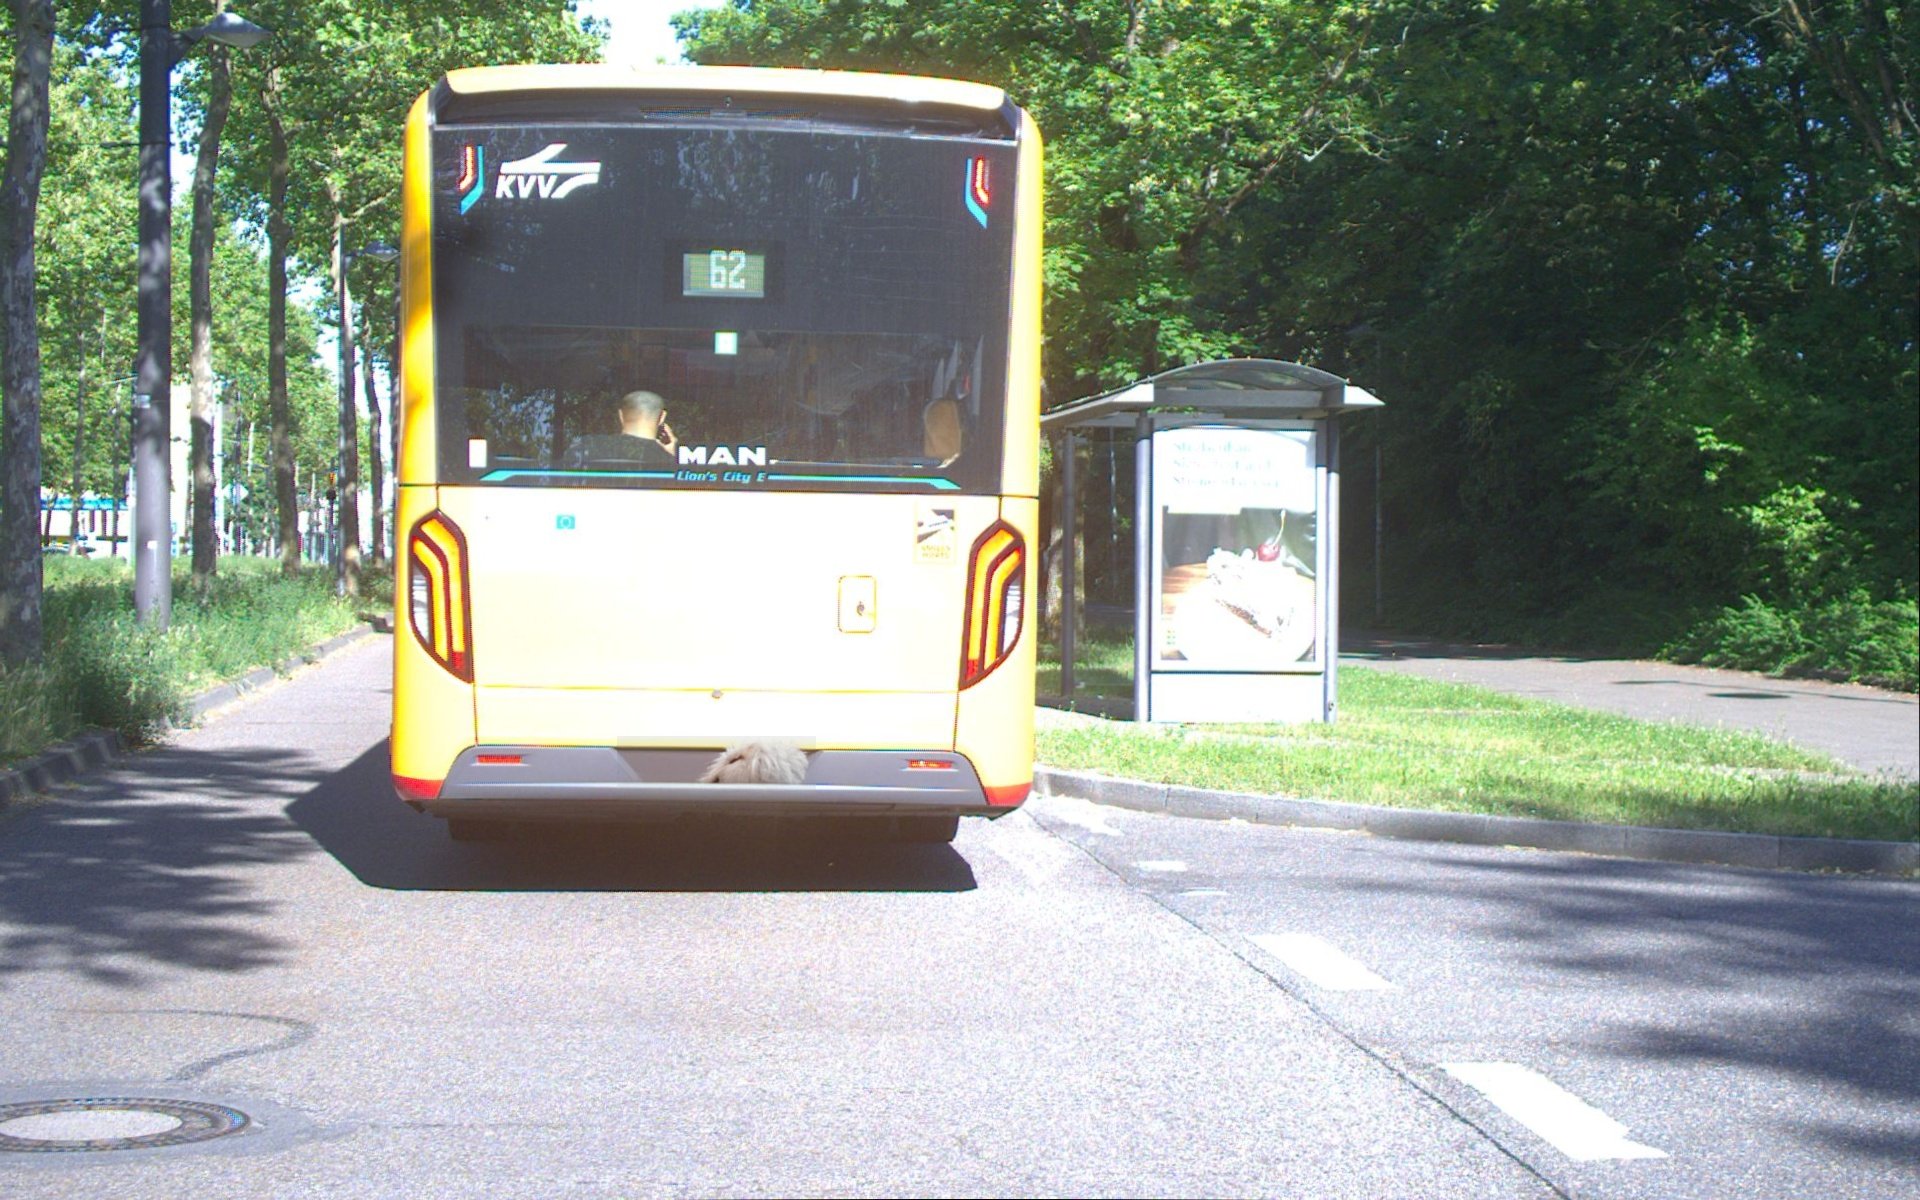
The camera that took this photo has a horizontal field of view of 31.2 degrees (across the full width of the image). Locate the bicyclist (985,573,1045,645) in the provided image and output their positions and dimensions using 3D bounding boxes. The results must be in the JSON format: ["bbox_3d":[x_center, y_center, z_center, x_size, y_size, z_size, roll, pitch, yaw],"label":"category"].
[{"bbox_3d":[1.282,0.210,80.123,1.179,1.655,1.029,0,1,-12],"label":"bicyclist"}]

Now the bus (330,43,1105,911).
[{"bbox_3d":[-1.414,-0.562,19.163,2.899,3.255,12.220,1,1,-5],"label":"bus"}]

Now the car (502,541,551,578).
[{"bbox_3d":[-21.442,-2.032,170.103,1.986,1.637,4.134,3,2,-3],"label":"car"}]
